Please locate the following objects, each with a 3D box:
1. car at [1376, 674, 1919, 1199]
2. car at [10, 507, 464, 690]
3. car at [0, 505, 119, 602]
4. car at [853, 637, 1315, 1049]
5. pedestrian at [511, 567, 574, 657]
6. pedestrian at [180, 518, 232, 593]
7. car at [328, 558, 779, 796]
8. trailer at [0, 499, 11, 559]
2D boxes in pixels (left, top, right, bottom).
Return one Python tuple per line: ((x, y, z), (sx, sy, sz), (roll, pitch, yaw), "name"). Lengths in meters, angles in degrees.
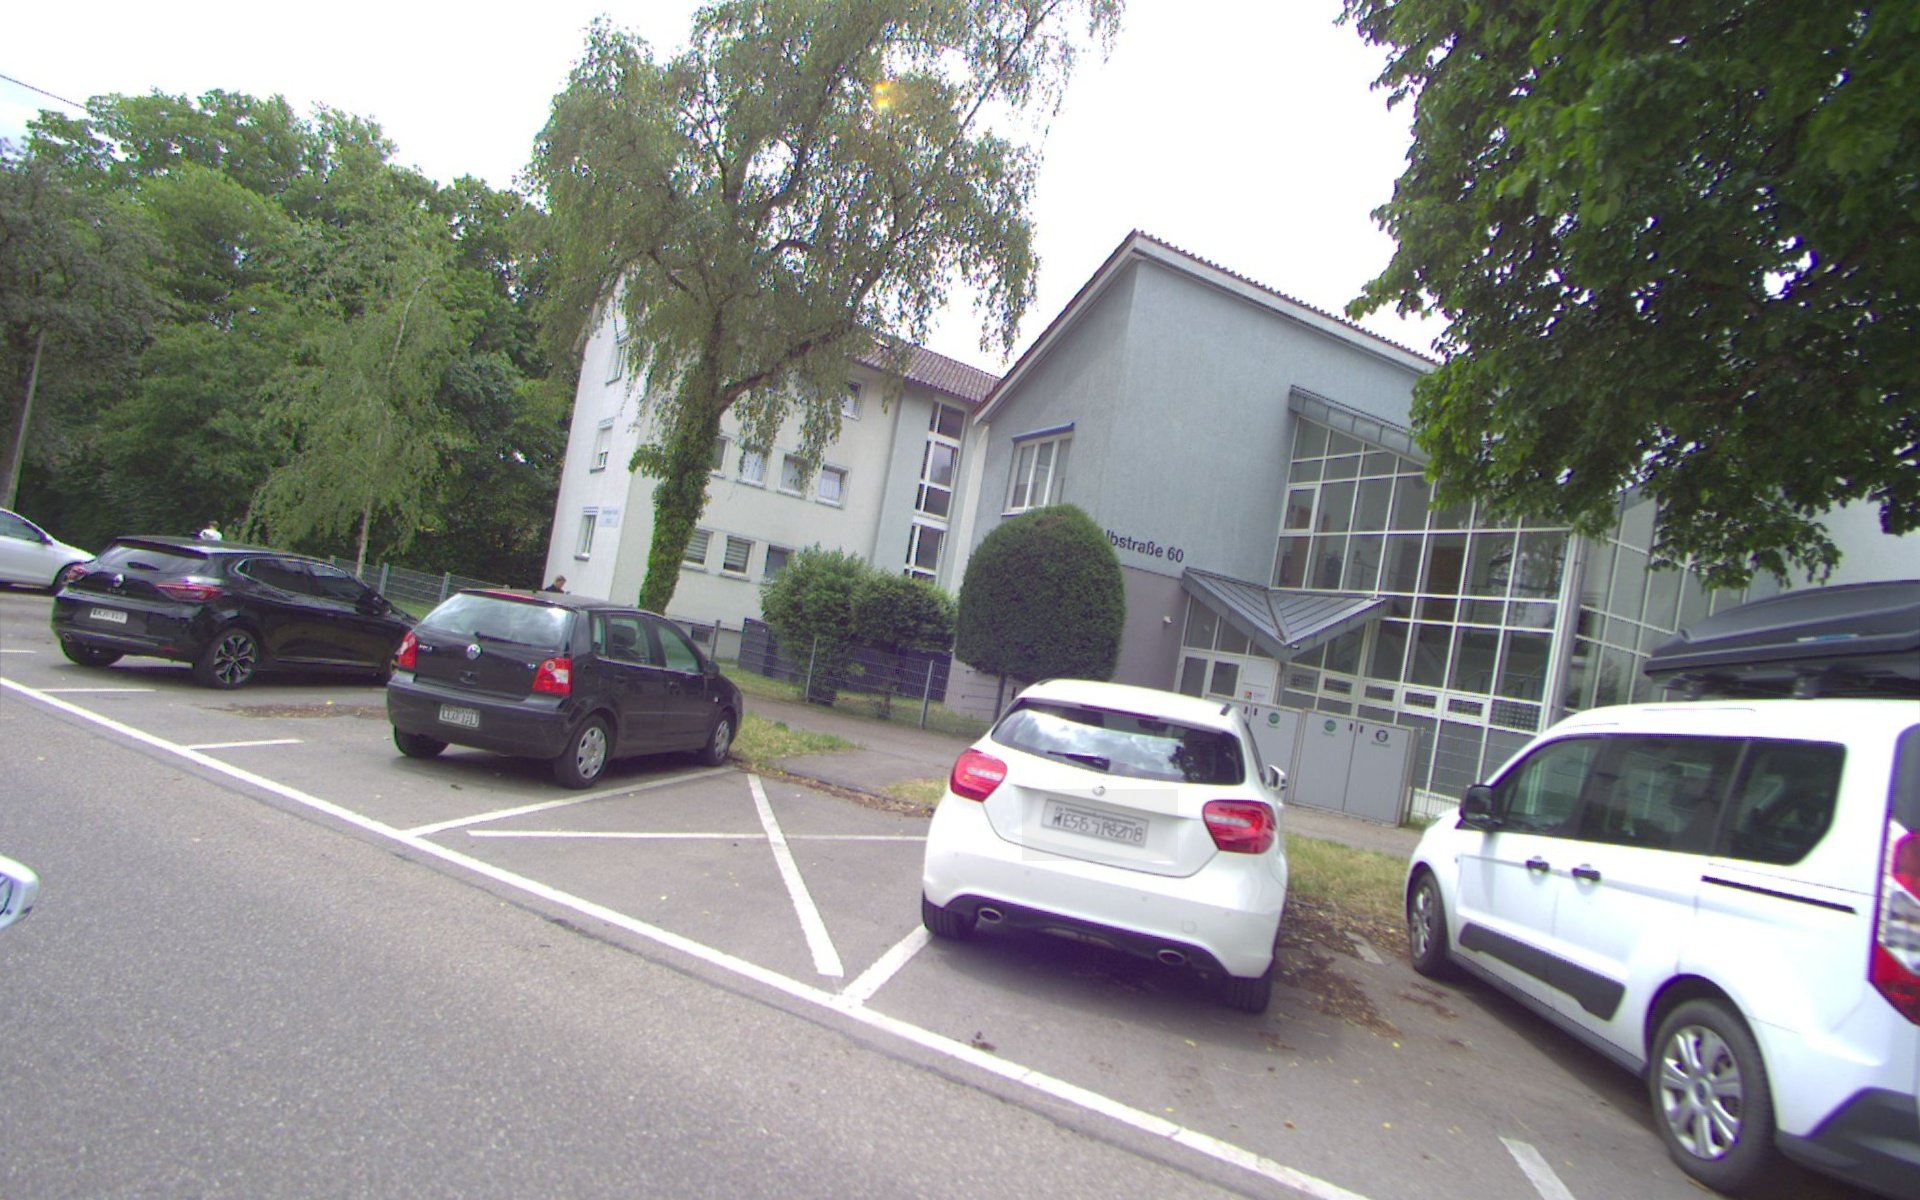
((3.665, 1.384, 4.747), (1.753, 1.772, 4.107), (9, -4, 5), "car")
((-7.736, 0.127, 11.342), (1.809, 1.464, 3.905), (8, -3, 8), "car")
((-17.022, -0.983, 17.048), (1.710, 1.464, 3.905), (8, -3, 10), "car")
((1.031, 1.239, 6.397), (1.882, 1.464, 3.988), (8, -4, 16), "car")
((-8.104, 0.242, 19.542), (0.732, 1.621, 0.650), (7, -2, 37), "pedestrian")
((-18.265, -1.079, 24.360), (0.732, 1.690, 0.650), (7, -2, 37), "pedestrian")
((-3.327, 0.721, 9.200), (1.809, 1.464, 3.906), (8, -4, 12), "car")
((-19.378, -1.417, 17.221), (1.679, 1.589, 4.177), (8, -4, 12), "trailer")
